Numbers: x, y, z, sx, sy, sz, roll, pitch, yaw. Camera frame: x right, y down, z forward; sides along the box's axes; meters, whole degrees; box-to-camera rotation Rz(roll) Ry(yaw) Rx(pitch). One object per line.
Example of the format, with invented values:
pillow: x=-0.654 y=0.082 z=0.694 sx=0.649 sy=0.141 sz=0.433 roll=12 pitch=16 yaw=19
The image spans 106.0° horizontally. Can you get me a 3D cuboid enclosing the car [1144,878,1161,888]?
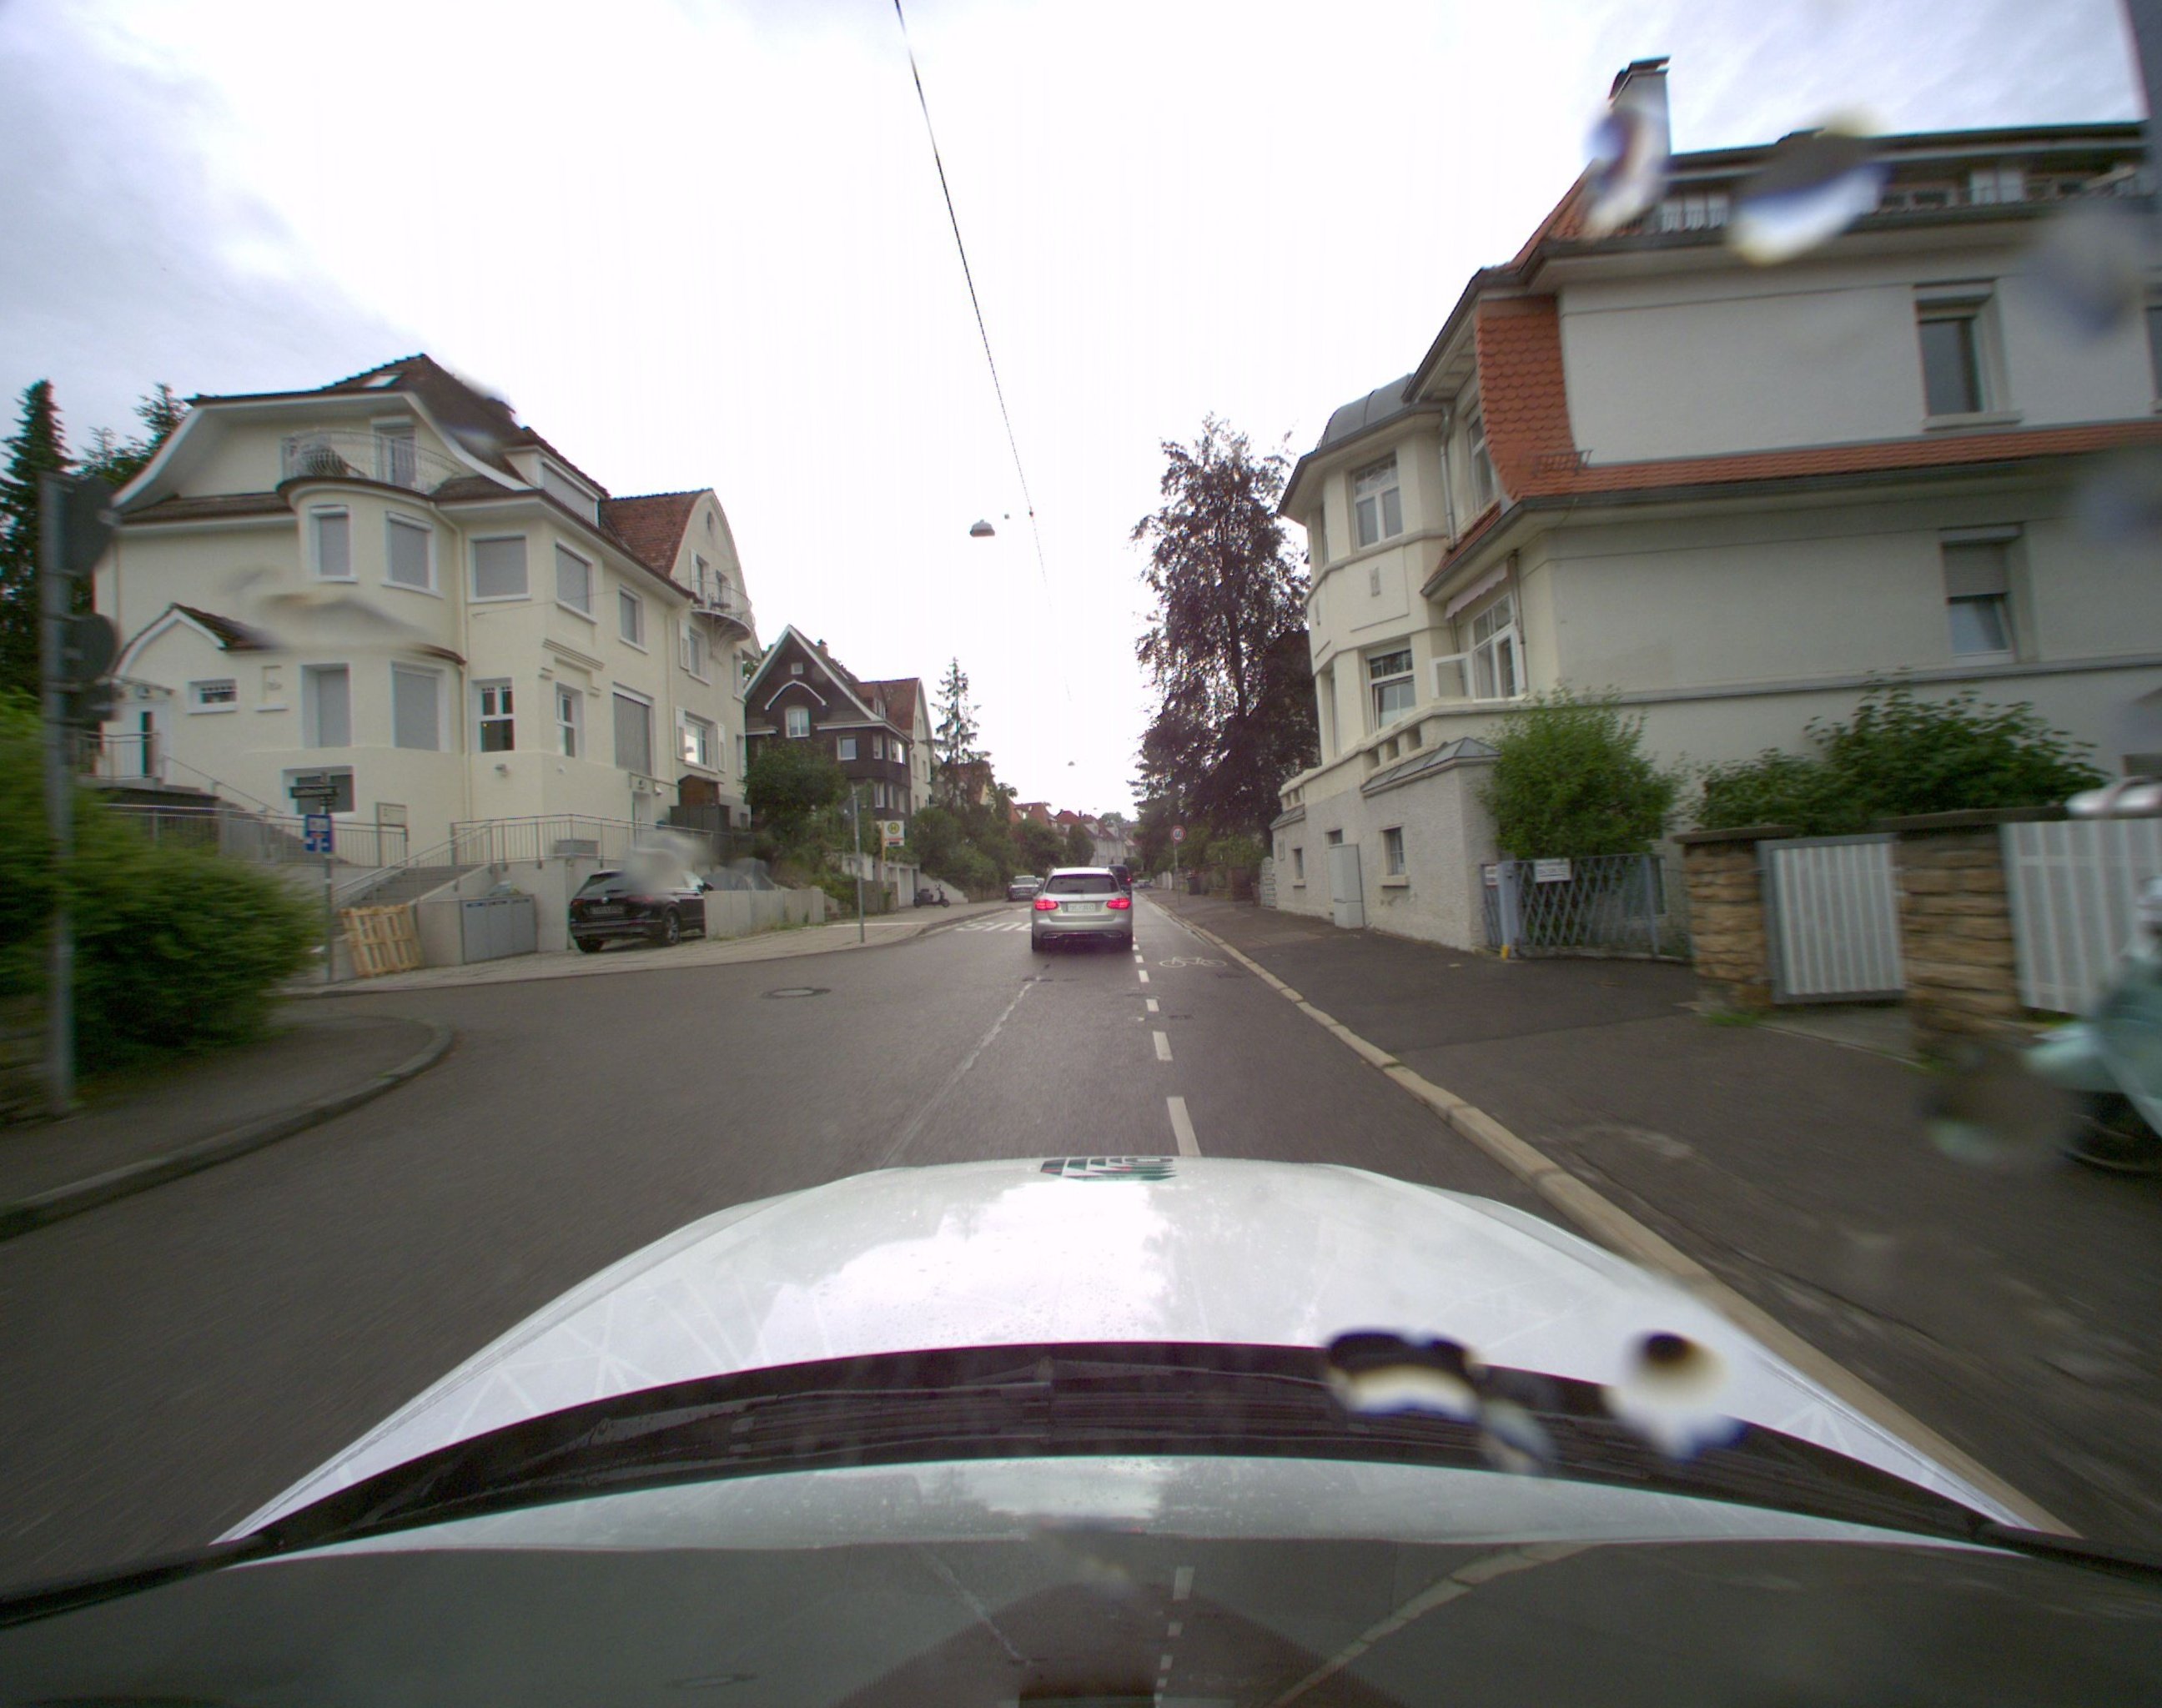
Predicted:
car: x=14.056 y=5.717 z=159.391 sx=1.976 sy=1.688 sz=4.702 roll=-3 pitch=0 yaw=23

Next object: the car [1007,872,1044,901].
car: x=-3.460 y=2.034 z=51.435 sx=1.886 sy=1.622 sz=4.379 roll=-3 pitch=-2 yaw=2

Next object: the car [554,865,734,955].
car: x=-9.250 y=1.099 z=17.654 sx=1.761 sy=1.618 sz=3.997 roll=-3 pitch=0 yaw=-2

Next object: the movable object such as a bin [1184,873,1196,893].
movable object such as a bin: x=5.419 y=1.450 z=40.342 sx=0.492 sy=0.956 sz=0.503 roll=-3 pitch=-1 yaw=0

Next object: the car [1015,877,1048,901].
car: x=-3.396 y=2.379 z=56.526 sx=1.886 sy=1.447 sz=3.815 roll=-3 pitch=0 yaw=1

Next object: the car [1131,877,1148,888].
car: x=10.980 y=5.297 z=152.630 sx=1.814 sy=2.056 sz=5.033 roll=-3 pitch=-3 yaw=19

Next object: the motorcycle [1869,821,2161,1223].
motorcycle: x=3.734 y=0.538 z=2.417 sx=0.689 sy=1.225 sz=2.157 roll=-9 pitch=-1 yaw=6

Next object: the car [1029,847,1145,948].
car: x=0.092 y=0.755 z=15.021 sx=1.811 sy=1.557 sz=3.998 roll=-2 pitch=-2 yaw=0

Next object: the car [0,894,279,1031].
car: x=-13.633 y=1.342 z=10.612 sx=4.356 sy=1.556 sz=1.820 roll=0 pitch=-1 yaw=-4

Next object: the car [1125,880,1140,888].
car: x=9.303 y=5.369 z=146.285 sx=1.630 sy=1.417 sz=4.632 roll=-3 pitch=-2 yaw=17

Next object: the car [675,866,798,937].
car: x=-9.464 y=1.227 z=22.739 sx=1.761 sy=1.696 sz=3.997 roll=-3 pitch=0 yaw=-2

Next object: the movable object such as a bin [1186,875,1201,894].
movable object such as a bin: x=5.486 y=1.493 z=39.673 sx=0.649 sy=0.855 sz=0.503 roll=-3 pitch=-1 yaw=0

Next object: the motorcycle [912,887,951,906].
motorcycle: x=-7.293 y=2.065 z=39.775 sx=1.787 sy=0.903 sz=0.603 roll=-1 pitch=-2 yaw=1

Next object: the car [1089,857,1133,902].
car: x=1.445 y=1.210 z=37.532 sx=1.835 sy=1.904 sz=4.003 roll=-2 pitch=-3 yaw=3

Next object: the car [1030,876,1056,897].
car: x=-3.025 y=2.628 z=65.941 sx=1.749 sy=1.447 sz=4.417 roll=-3 pitch=0 yaw=2

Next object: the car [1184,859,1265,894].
car: x=7.623 y=1.161 z=43.529 sx=3.972 sy=1.640 sz=1.919 roll=-3 pitch=0 yaw=1

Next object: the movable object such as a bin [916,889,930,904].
movable object such as a bin: x=-9.386 y=2.533 z=48.425 sx=0.625 sy=0.889 sz=0.482 roll=-2 pitch=-1 yaw=-42
